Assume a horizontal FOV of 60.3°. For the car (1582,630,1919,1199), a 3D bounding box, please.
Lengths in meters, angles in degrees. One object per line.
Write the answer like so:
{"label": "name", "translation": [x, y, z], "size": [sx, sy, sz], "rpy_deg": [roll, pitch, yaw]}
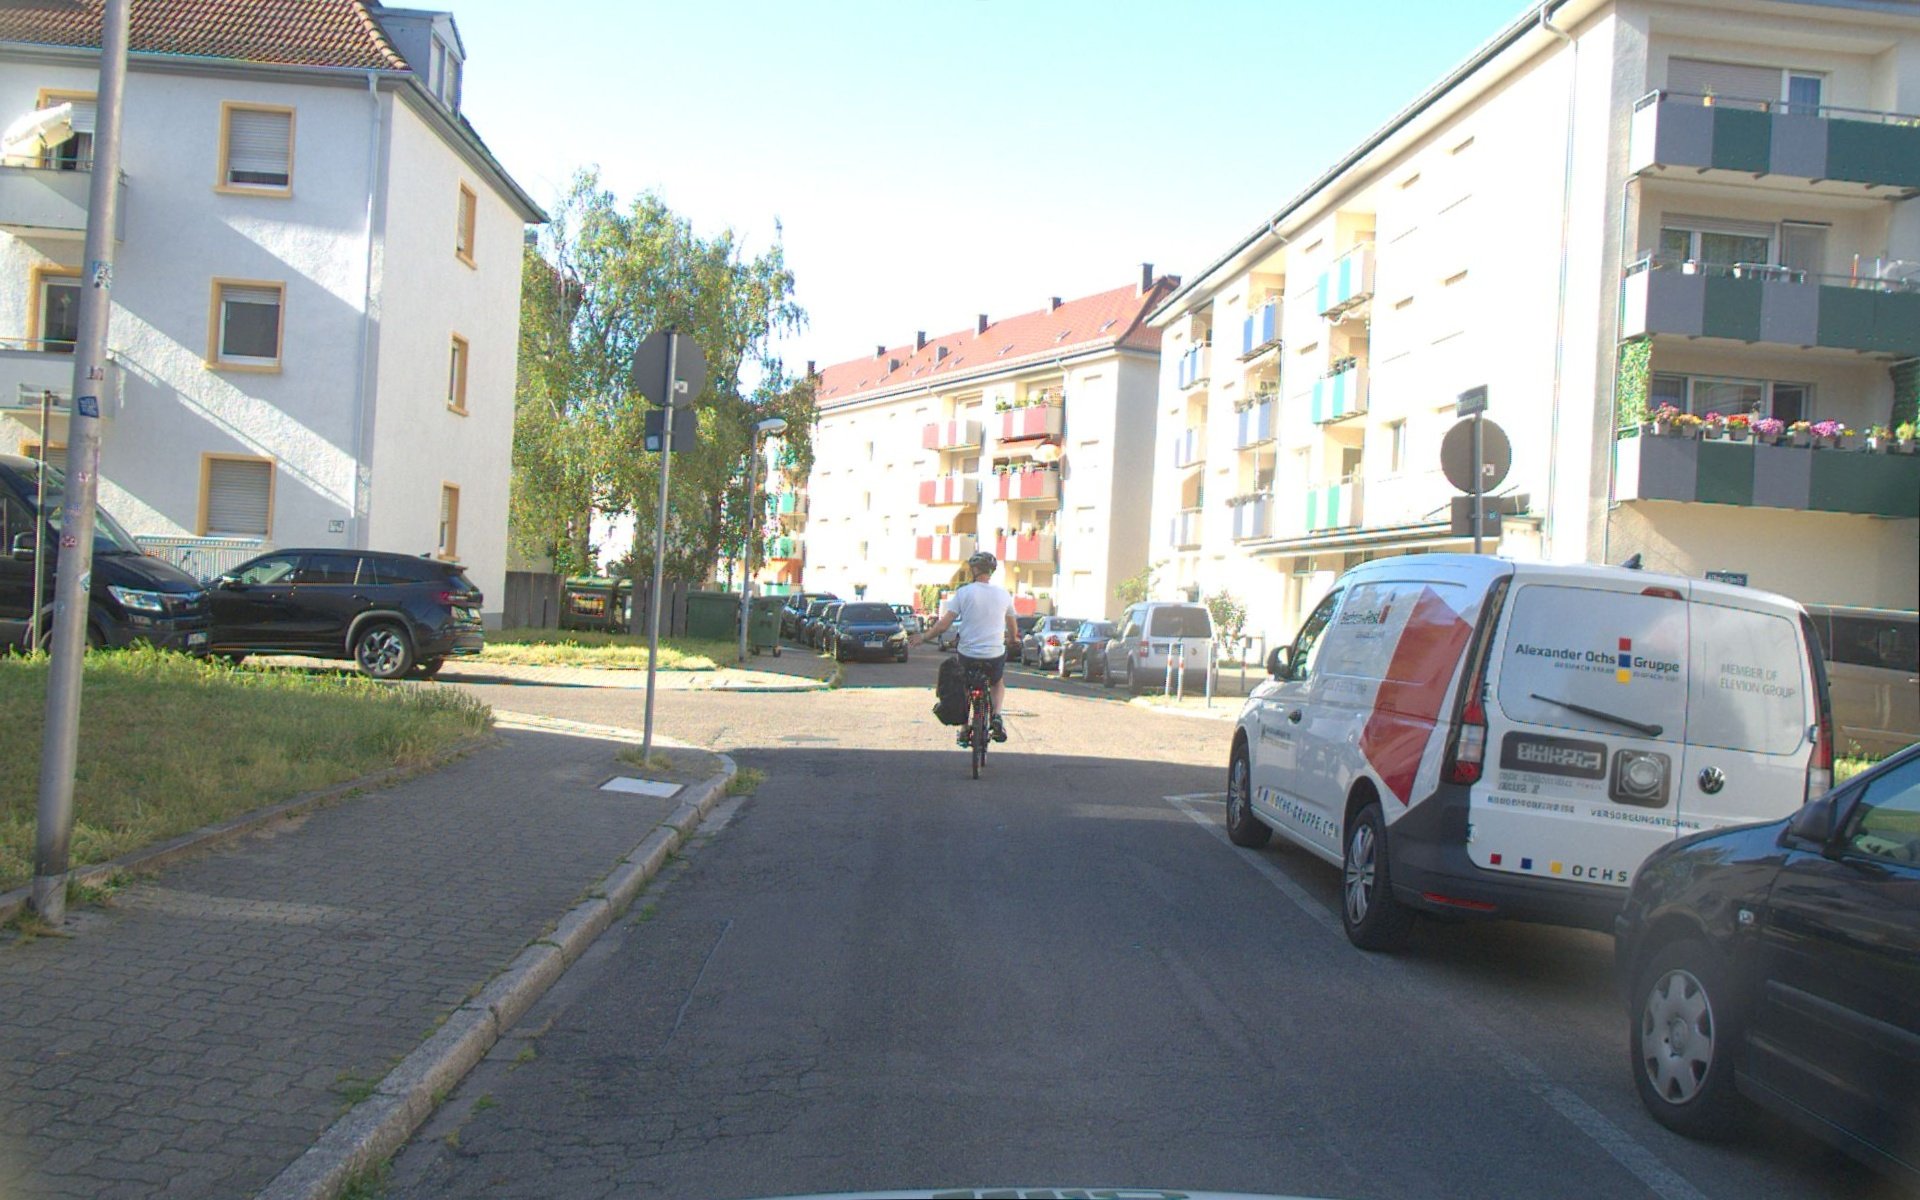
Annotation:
{"label": "car", "translation": [3.029, 0.894, 3.765], "size": [1.542, 1.442, 3.785], "rpy_deg": [4, 0, -3]}

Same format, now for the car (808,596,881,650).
{"label": "car", "translation": [-3.346, 0.635, 47.328], "size": [1.647, 1.468, 4.269], "rpy_deg": [0, 0, -10]}

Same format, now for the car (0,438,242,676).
{"label": "car", "translation": [-11.736, -0.532, 19.195], "size": [5.822, 2.589, 1.999], "rpy_deg": [2, 0, -3]}

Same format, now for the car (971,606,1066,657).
{"label": "car", "translation": [1.761, 0.951, 51.640], "size": [1.665, 1.456, 4.669], "rpy_deg": [2, 0, -15]}

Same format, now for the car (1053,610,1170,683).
{"label": "car", "translation": [3.553, 1.065, 39.625], "size": [1.647, 1.431, 4.536], "rpy_deg": [4, 0, -9]}

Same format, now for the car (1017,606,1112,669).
{"label": "car", "translation": [2.826, 0.997, 45.766], "size": [1.646, 1.472, 4.716], "rpy_deg": [4, 0, -8]}

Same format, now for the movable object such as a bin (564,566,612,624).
{"label": "movable object such as a bin", "translation": [-9.682, -0.131, 43.035], "size": [1.040, 1.460, 1.002], "rpy_deg": [2, 0, -4]}

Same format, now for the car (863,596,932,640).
{"label": "car", "translation": [-2.699, 0.744, 70.658], "size": [1.740, 1.664, 4.017], "rpy_deg": [1, 1, -20]}

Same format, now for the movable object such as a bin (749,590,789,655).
{"label": "movable object such as a bin", "translation": [-4.351, 0.511, 37.713], "size": [0.760, 1.417, 1.416], "rpy_deg": [3, 0, -4]}

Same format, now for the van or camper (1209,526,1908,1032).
{"label": "van or camper", "translation": [2.711, 0.697, 8.858], "size": [1.757, 1.777, 4.733], "rpy_deg": [7, 0, -1]}

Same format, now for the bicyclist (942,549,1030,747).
{"label": "bicyclist", "translation": [0.229, 0.389, 14.037], "size": [0.583, 1.606, 0.908], "rpy_deg": [2, 0, 8]}

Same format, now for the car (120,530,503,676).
{"label": "car", "translation": [-8.637, 0.062, 22.323], "size": [4.398, 1.693, 1.718], "rpy_deg": [3, -2, -2]}

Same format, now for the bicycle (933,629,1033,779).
{"label": "bicycle", "translation": [0.222, 0.843, 14.090], "size": [0.614, 1.134, 1.817], "rpy_deg": [0, 1, 8]}

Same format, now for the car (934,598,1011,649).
{"label": "car", "translation": [0.397, 0.861, 58.487], "size": [1.665, 1.685, 4.373], "rpy_deg": [2, -2, -14]}

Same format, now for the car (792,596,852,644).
{"label": "car", "translation": [-4.433, 0.598, 52.622], "size": [1.527, 1.468, 3.958], "rpy_deg": [0, 0, -10]}

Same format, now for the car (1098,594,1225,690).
{"label": "car", "translation": [4.085, 0.817, 34.175], "size": [1.713, 1.856, 4.126], "rpy_deg": [1, 0, -6]}

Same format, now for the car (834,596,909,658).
{"label": "car", "translation": [-2.311, 0.648, 42.271], "size": [1.646, 1.478, 4.614], "rpy_deg": [0, 0, -6]}

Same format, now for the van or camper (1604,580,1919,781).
{"label": "van or camper", "translation": [10.555, 0.963, 19.550], "size": [5.022, 2.048, 1.999], "rpy_deg": [3, 1, -3]}

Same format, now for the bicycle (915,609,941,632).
{"label": "bicycle", "translation": [-1.568, 0.965, 79.967], "size": [0.609, 0.995, 1.883], "rpy_deg": [0, 2, -23]}

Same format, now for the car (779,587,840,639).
{"label": "car", "translation": [-5.306, 0.436, 58.046], "size": [1.529, 1.744, 4.322], "rpy_deg": [0, 0, -14]}

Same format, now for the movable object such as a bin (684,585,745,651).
{"label": "movable object such as a bin", "translation": [-5.623, 0.408, 37.916], "size": [1.195, 1.404, 0.767], "rpy_deg": [4, -1, 1]}
